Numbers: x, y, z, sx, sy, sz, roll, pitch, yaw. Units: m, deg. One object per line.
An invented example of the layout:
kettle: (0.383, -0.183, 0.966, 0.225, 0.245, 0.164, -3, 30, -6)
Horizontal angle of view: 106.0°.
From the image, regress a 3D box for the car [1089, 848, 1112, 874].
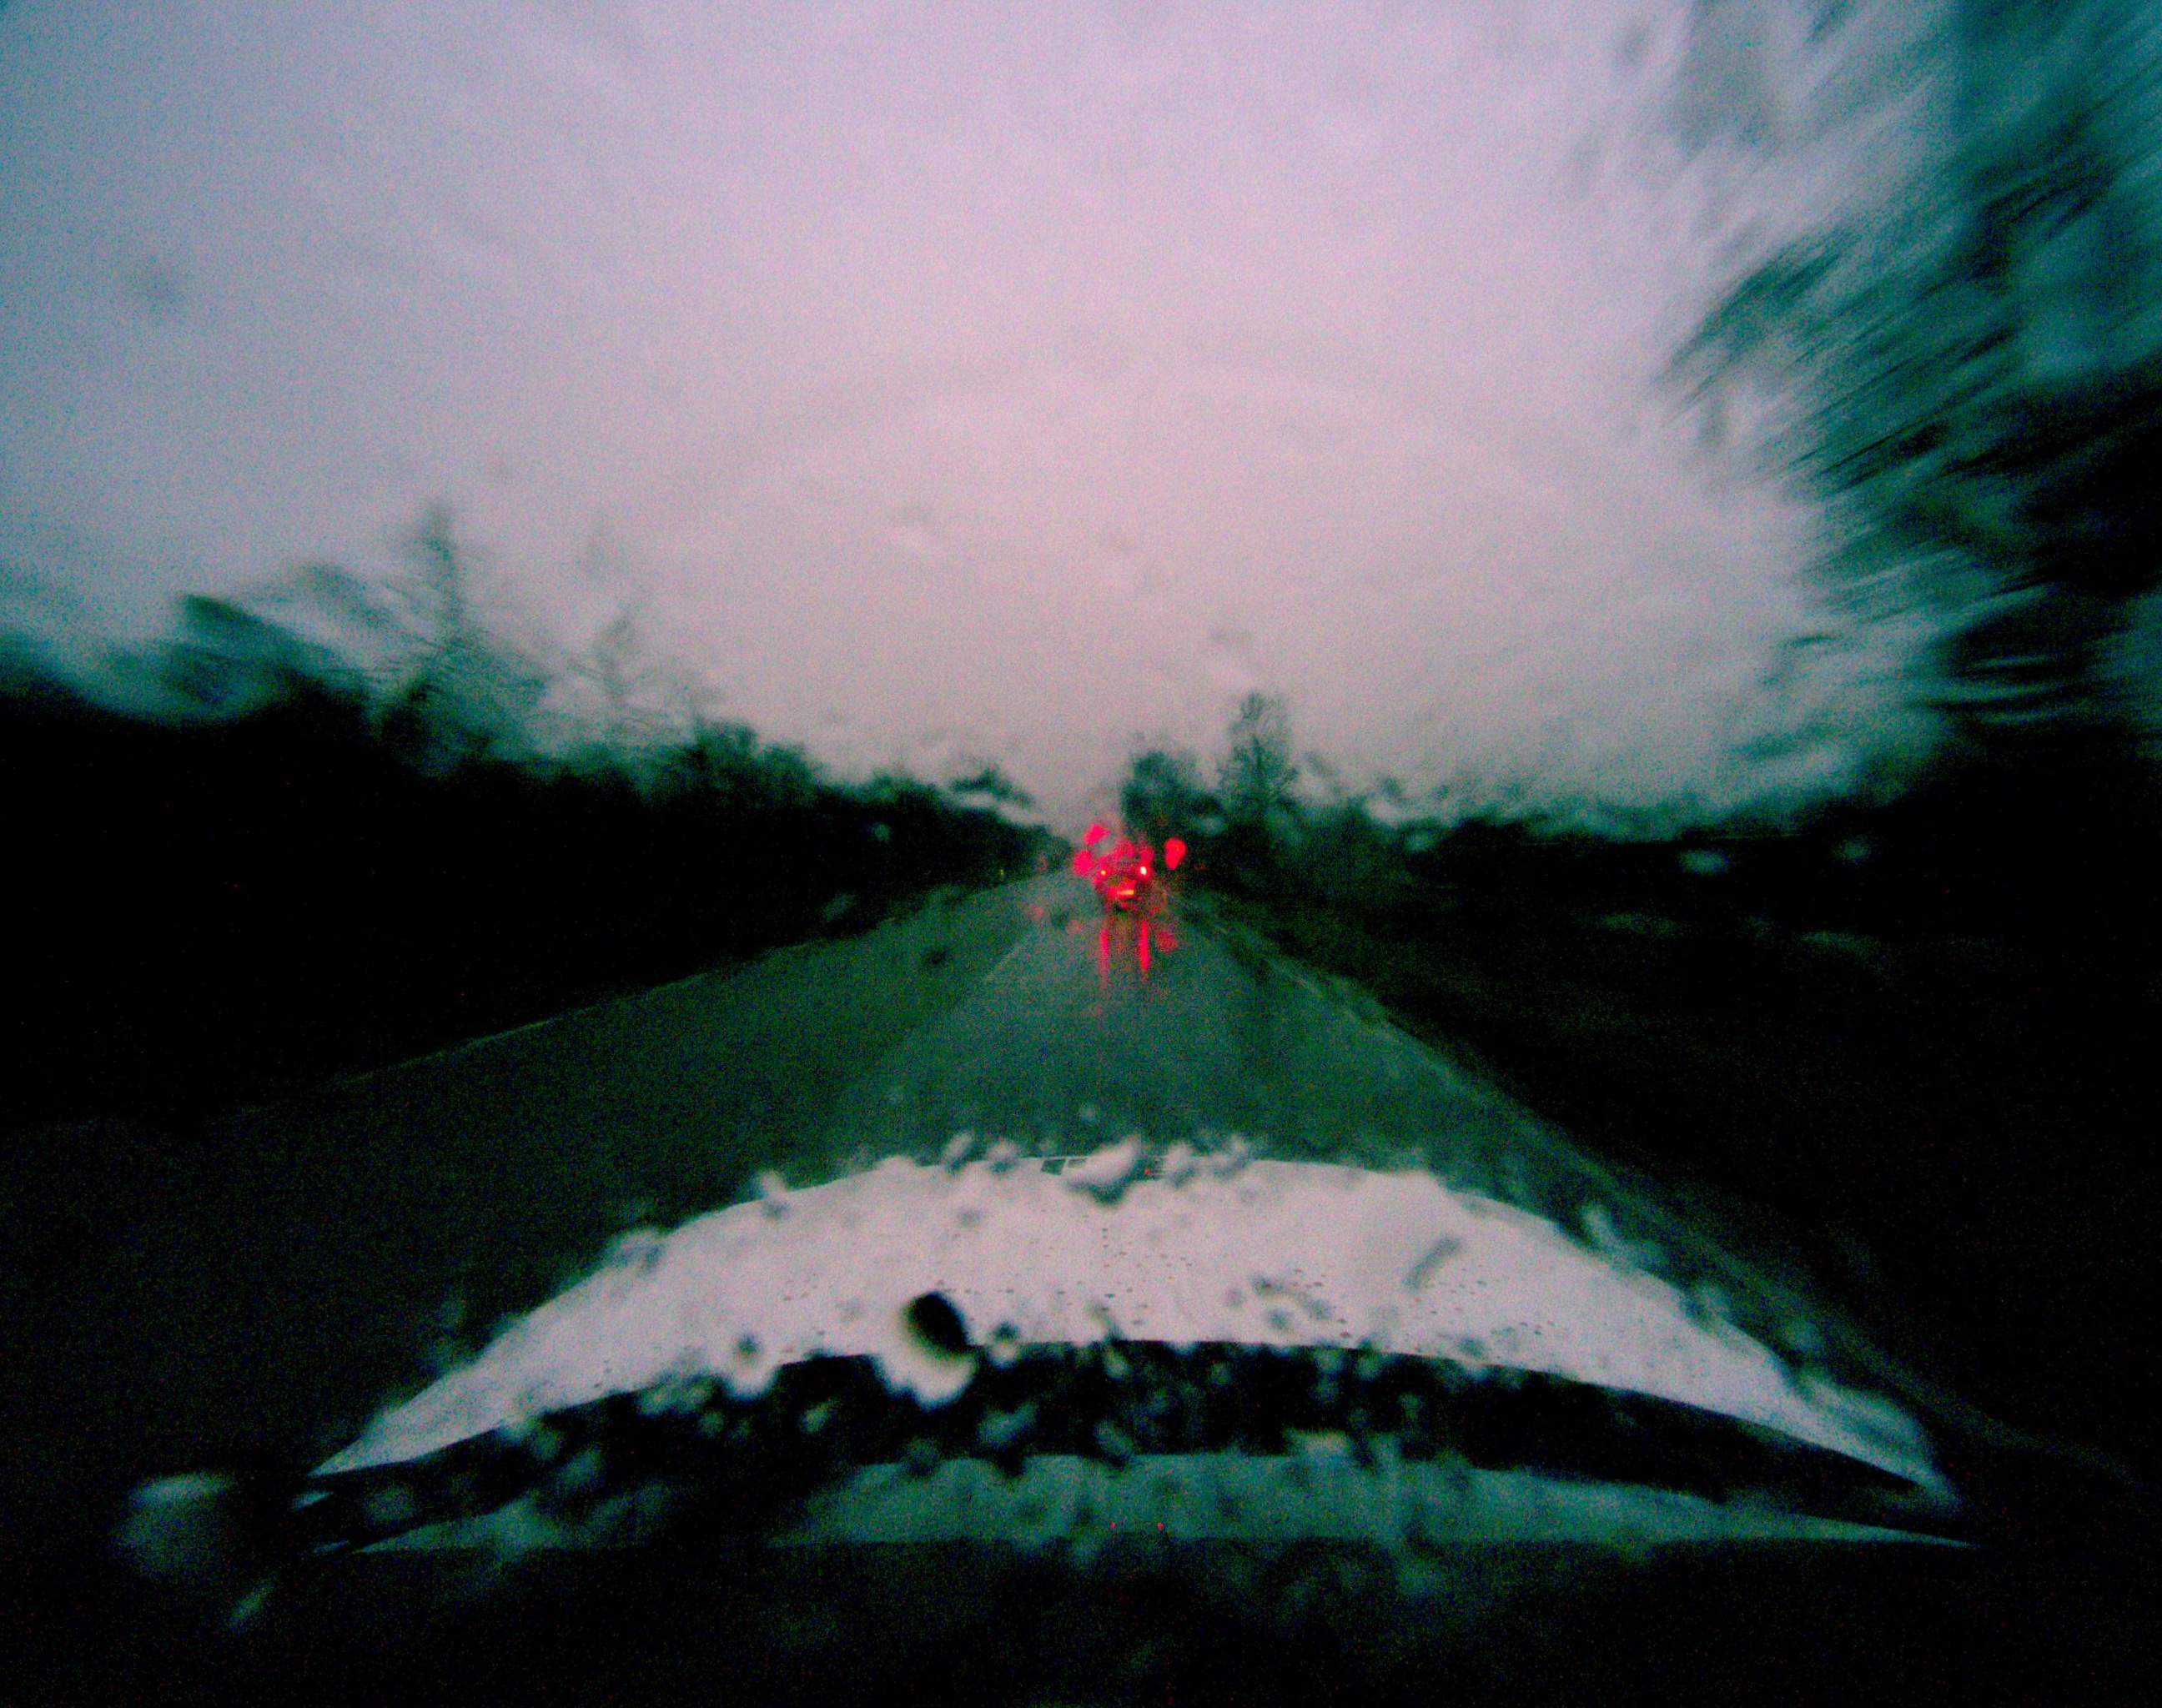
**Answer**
car: (1.466, 0.480, 59.730, 1.568, 1.875, 3.712, 0, 0, 3)

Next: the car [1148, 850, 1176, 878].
car: (4.791, 0.558, 48.487, 1.556, 1.591, 3.493, 0, 0, 5)

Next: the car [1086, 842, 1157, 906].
car: (1.265, 0.562, 25.048, 1.985, 1.784, 4.004, 0, 0, 3)
